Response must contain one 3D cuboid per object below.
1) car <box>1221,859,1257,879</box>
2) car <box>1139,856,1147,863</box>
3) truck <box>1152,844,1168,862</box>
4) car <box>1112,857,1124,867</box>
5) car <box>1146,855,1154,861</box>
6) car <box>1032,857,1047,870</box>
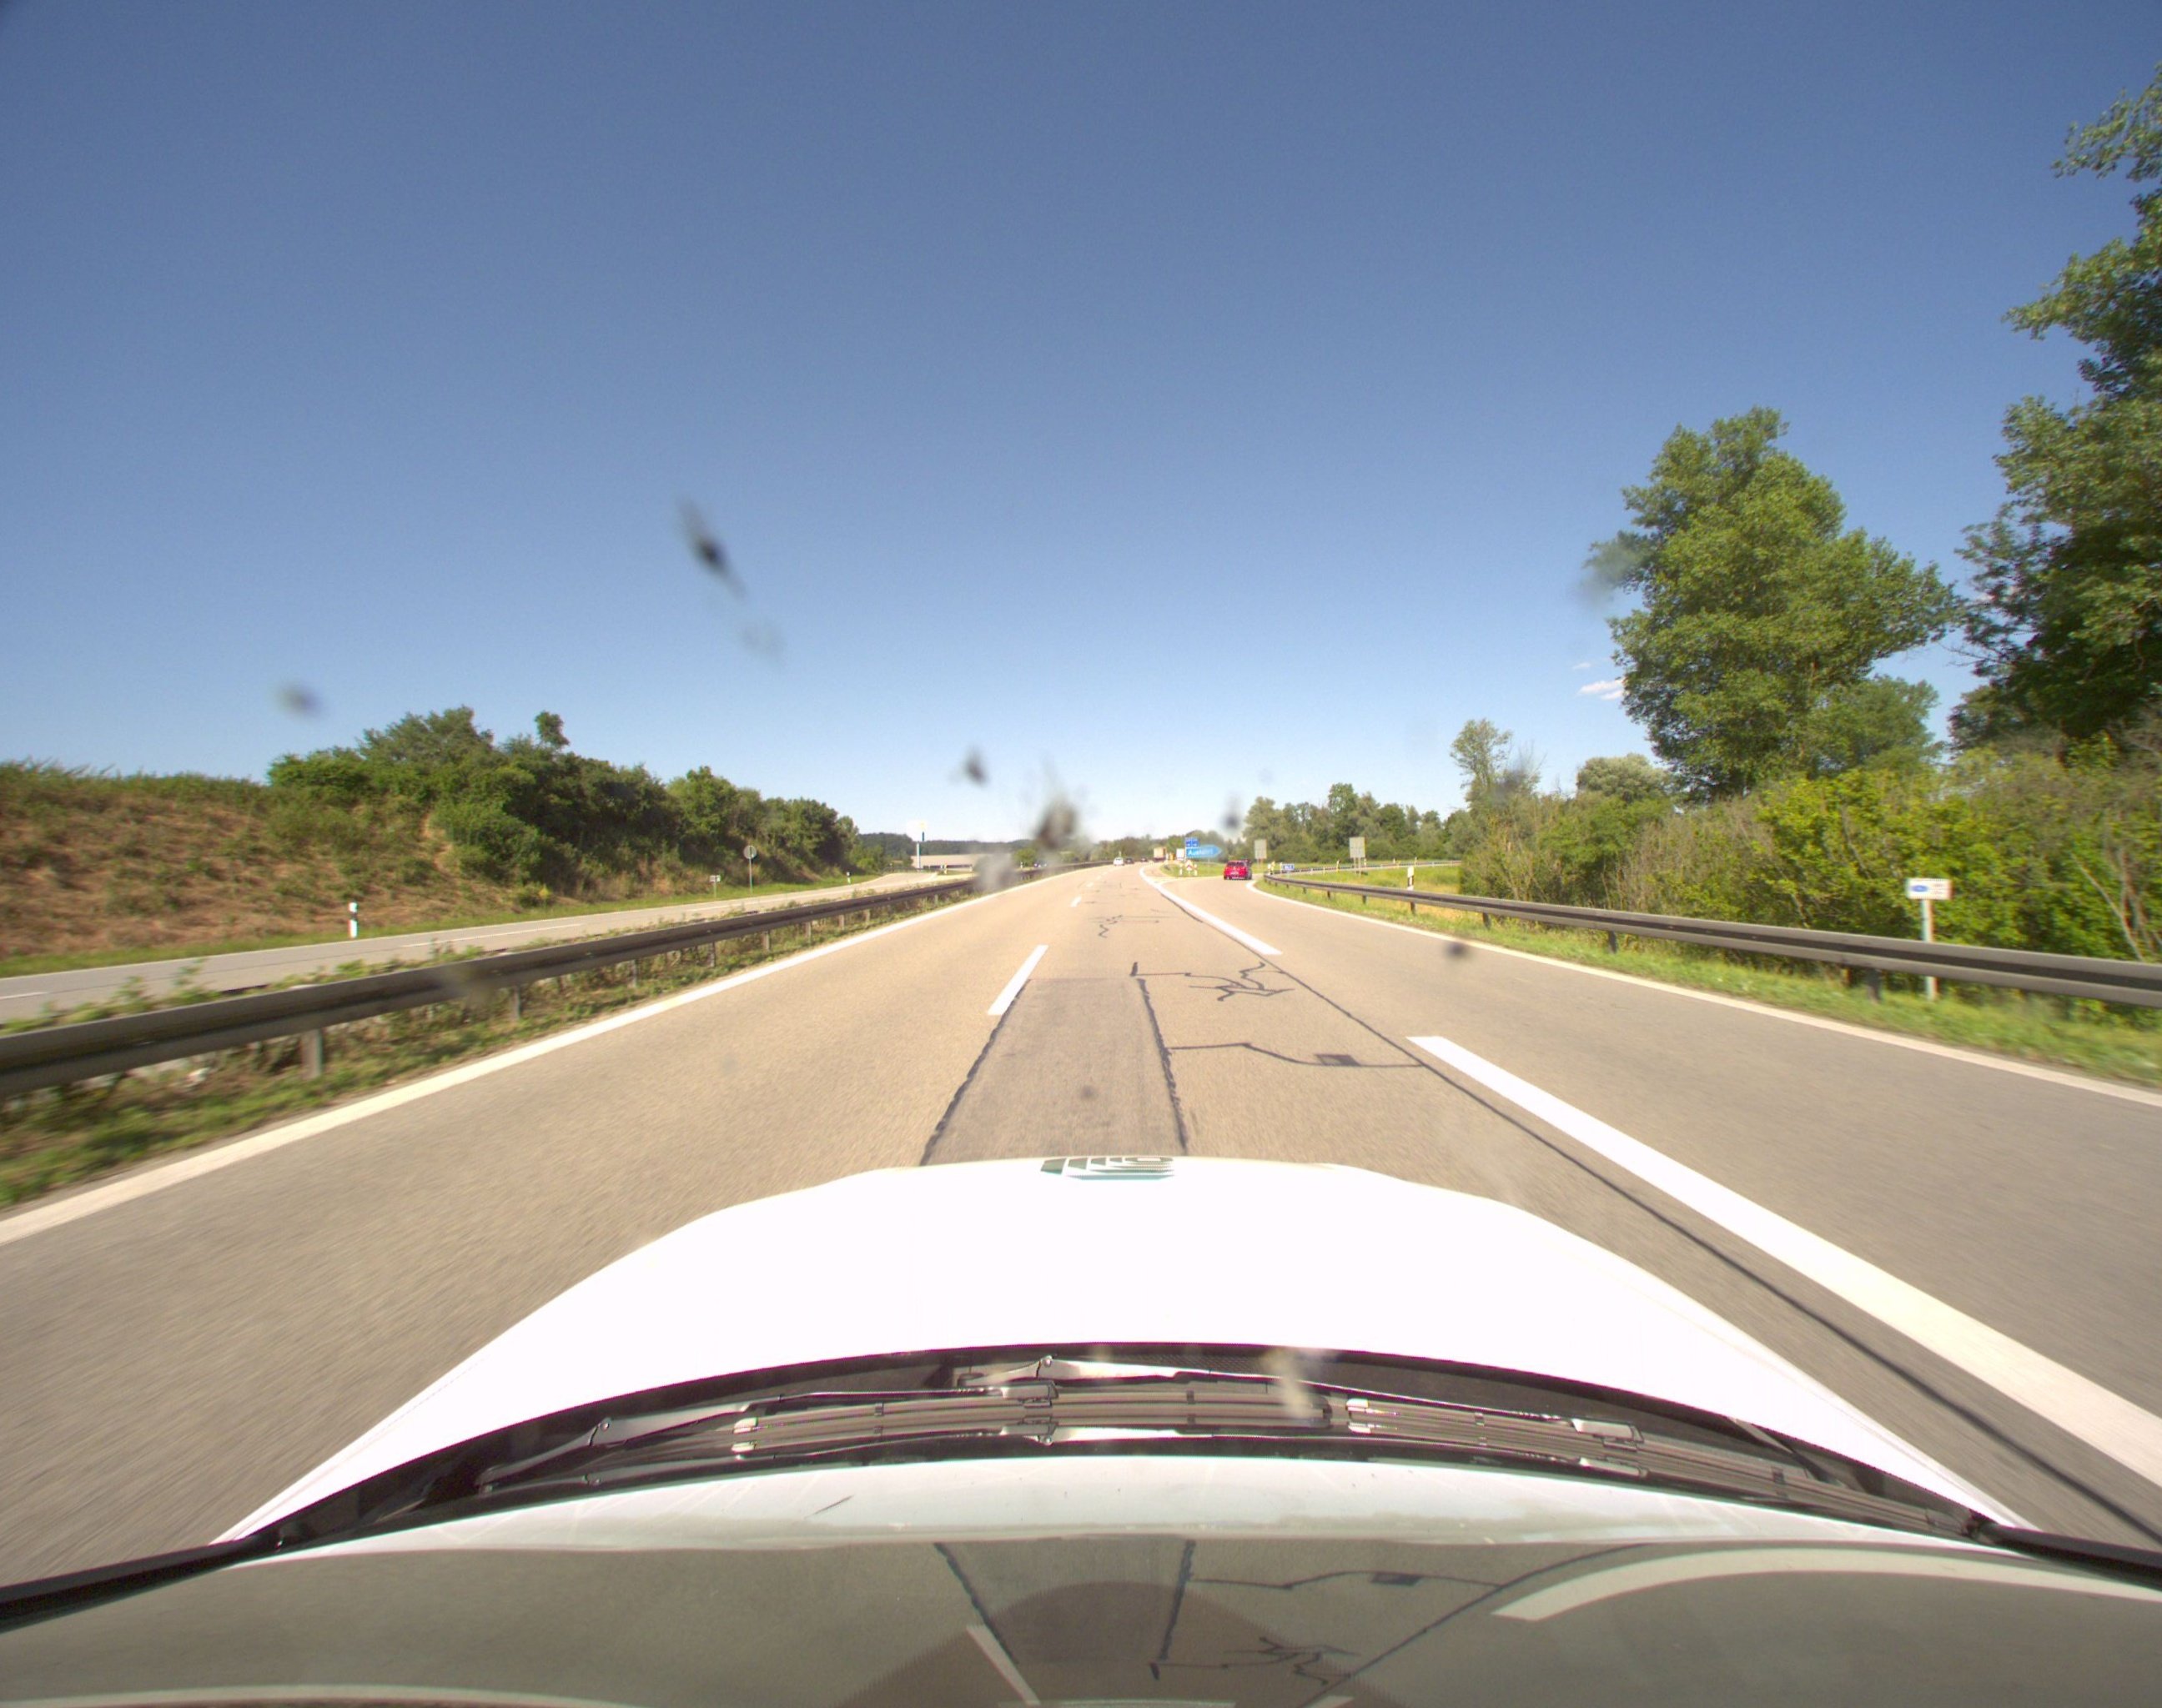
[{"bbox_3d":[11.929,1.151,61.349,1.768,1.431,4.022,0,-1,24],"label":"car"},{"bbox_3d":[16.488,1.434,216.337,1.986,1.750,4.001,-2,0,1],"label":"car"},{"bbox_3d":[21.263,-0.254,219.964,3.819,4.397,11.487,-3,0,5],"label":"truck"},{"bbox_3d":[6.894,1.560,150.916,2.054,1.625,4.001,-3,-3,2],"label":"car"},{"bbox_3d":[20.795,1.307,245.755,1.985,1.750,4.003,-2,0,3],"label":"car"},{"bbox_3d":[-6.273,1.468,123.033,1.872,1.625,4.001,-3,-3,2],"label":"car"}]
